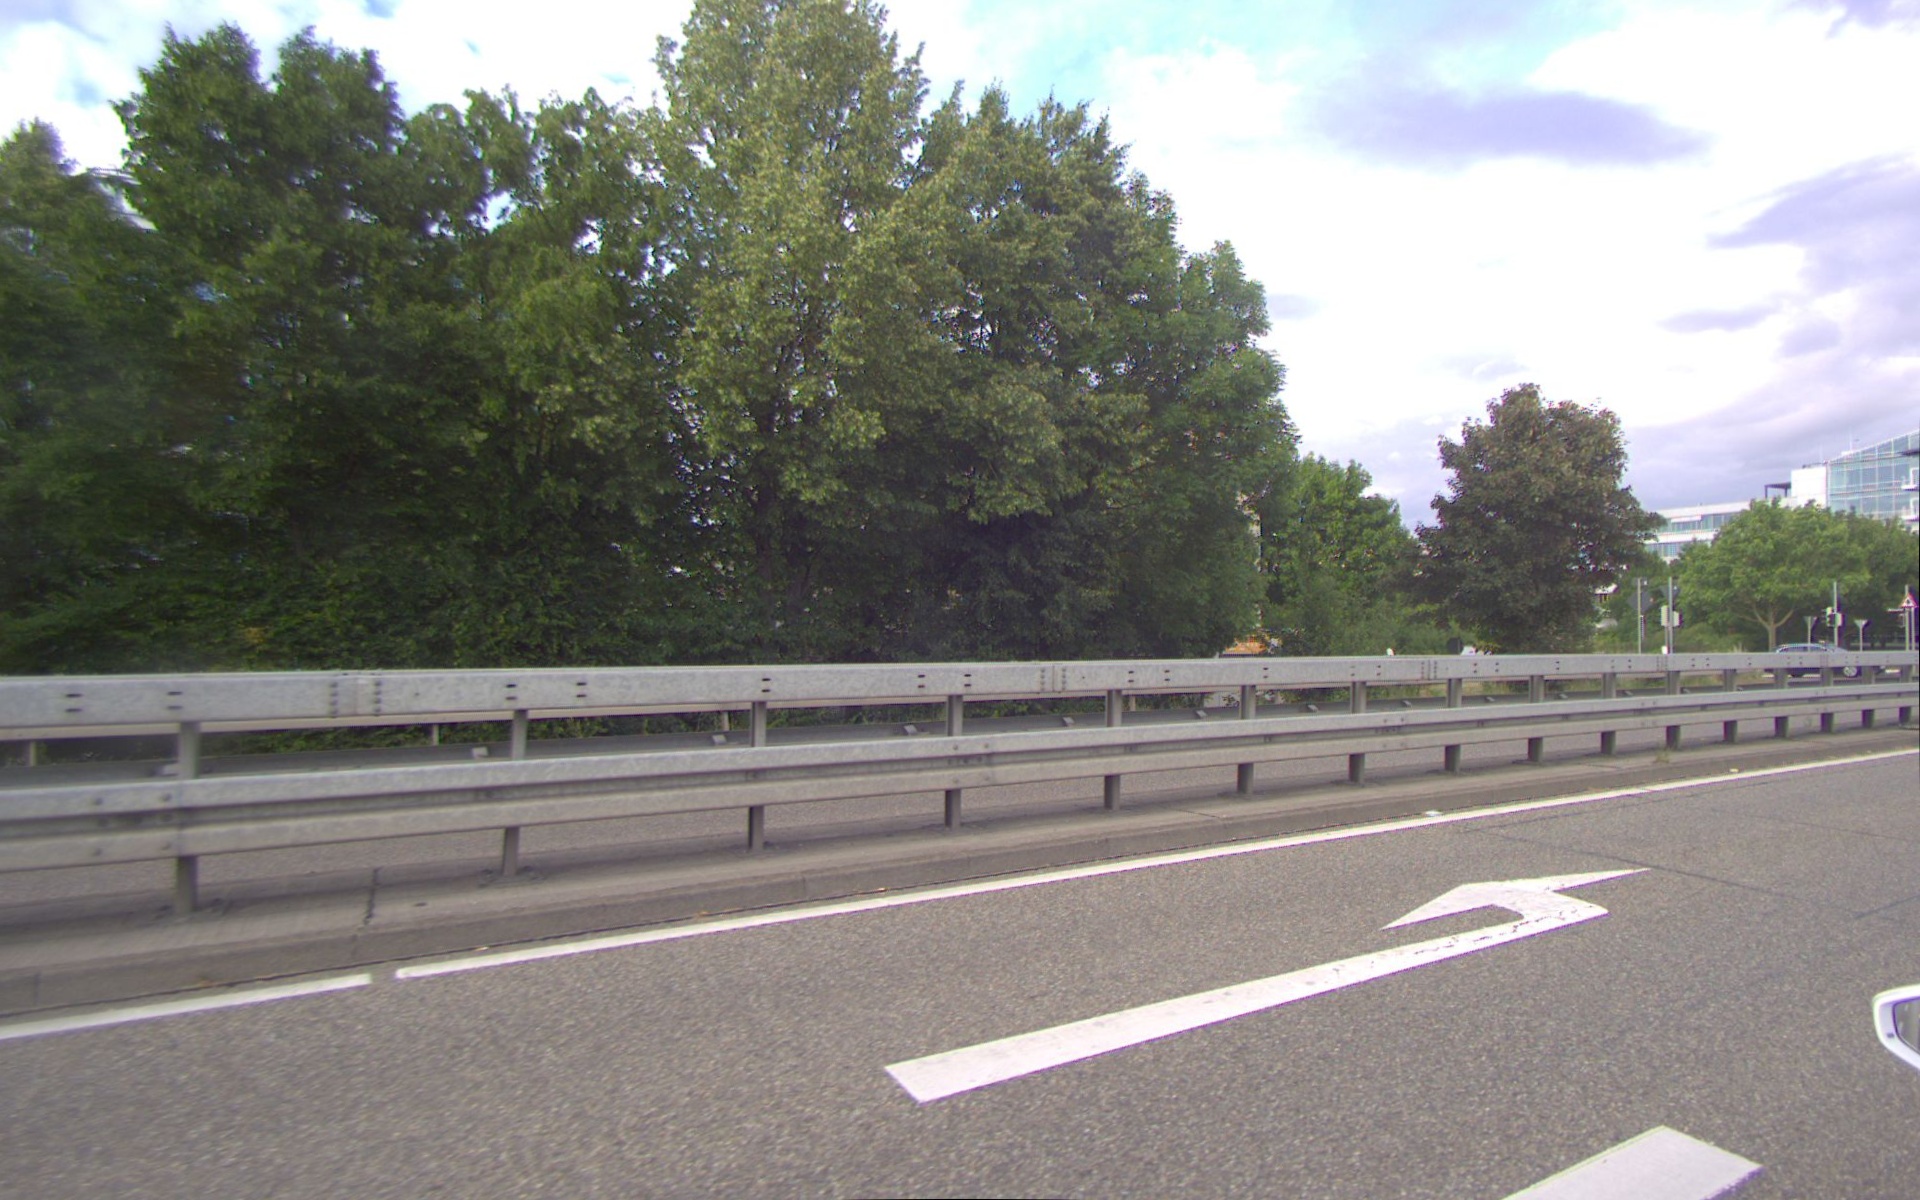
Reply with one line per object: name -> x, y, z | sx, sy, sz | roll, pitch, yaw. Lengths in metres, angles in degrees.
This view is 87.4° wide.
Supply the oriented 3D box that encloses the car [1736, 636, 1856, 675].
car -> 39.234, 2.587, 47.212 | 1.867, 1.572, 3.960 | 2, 0, -35
